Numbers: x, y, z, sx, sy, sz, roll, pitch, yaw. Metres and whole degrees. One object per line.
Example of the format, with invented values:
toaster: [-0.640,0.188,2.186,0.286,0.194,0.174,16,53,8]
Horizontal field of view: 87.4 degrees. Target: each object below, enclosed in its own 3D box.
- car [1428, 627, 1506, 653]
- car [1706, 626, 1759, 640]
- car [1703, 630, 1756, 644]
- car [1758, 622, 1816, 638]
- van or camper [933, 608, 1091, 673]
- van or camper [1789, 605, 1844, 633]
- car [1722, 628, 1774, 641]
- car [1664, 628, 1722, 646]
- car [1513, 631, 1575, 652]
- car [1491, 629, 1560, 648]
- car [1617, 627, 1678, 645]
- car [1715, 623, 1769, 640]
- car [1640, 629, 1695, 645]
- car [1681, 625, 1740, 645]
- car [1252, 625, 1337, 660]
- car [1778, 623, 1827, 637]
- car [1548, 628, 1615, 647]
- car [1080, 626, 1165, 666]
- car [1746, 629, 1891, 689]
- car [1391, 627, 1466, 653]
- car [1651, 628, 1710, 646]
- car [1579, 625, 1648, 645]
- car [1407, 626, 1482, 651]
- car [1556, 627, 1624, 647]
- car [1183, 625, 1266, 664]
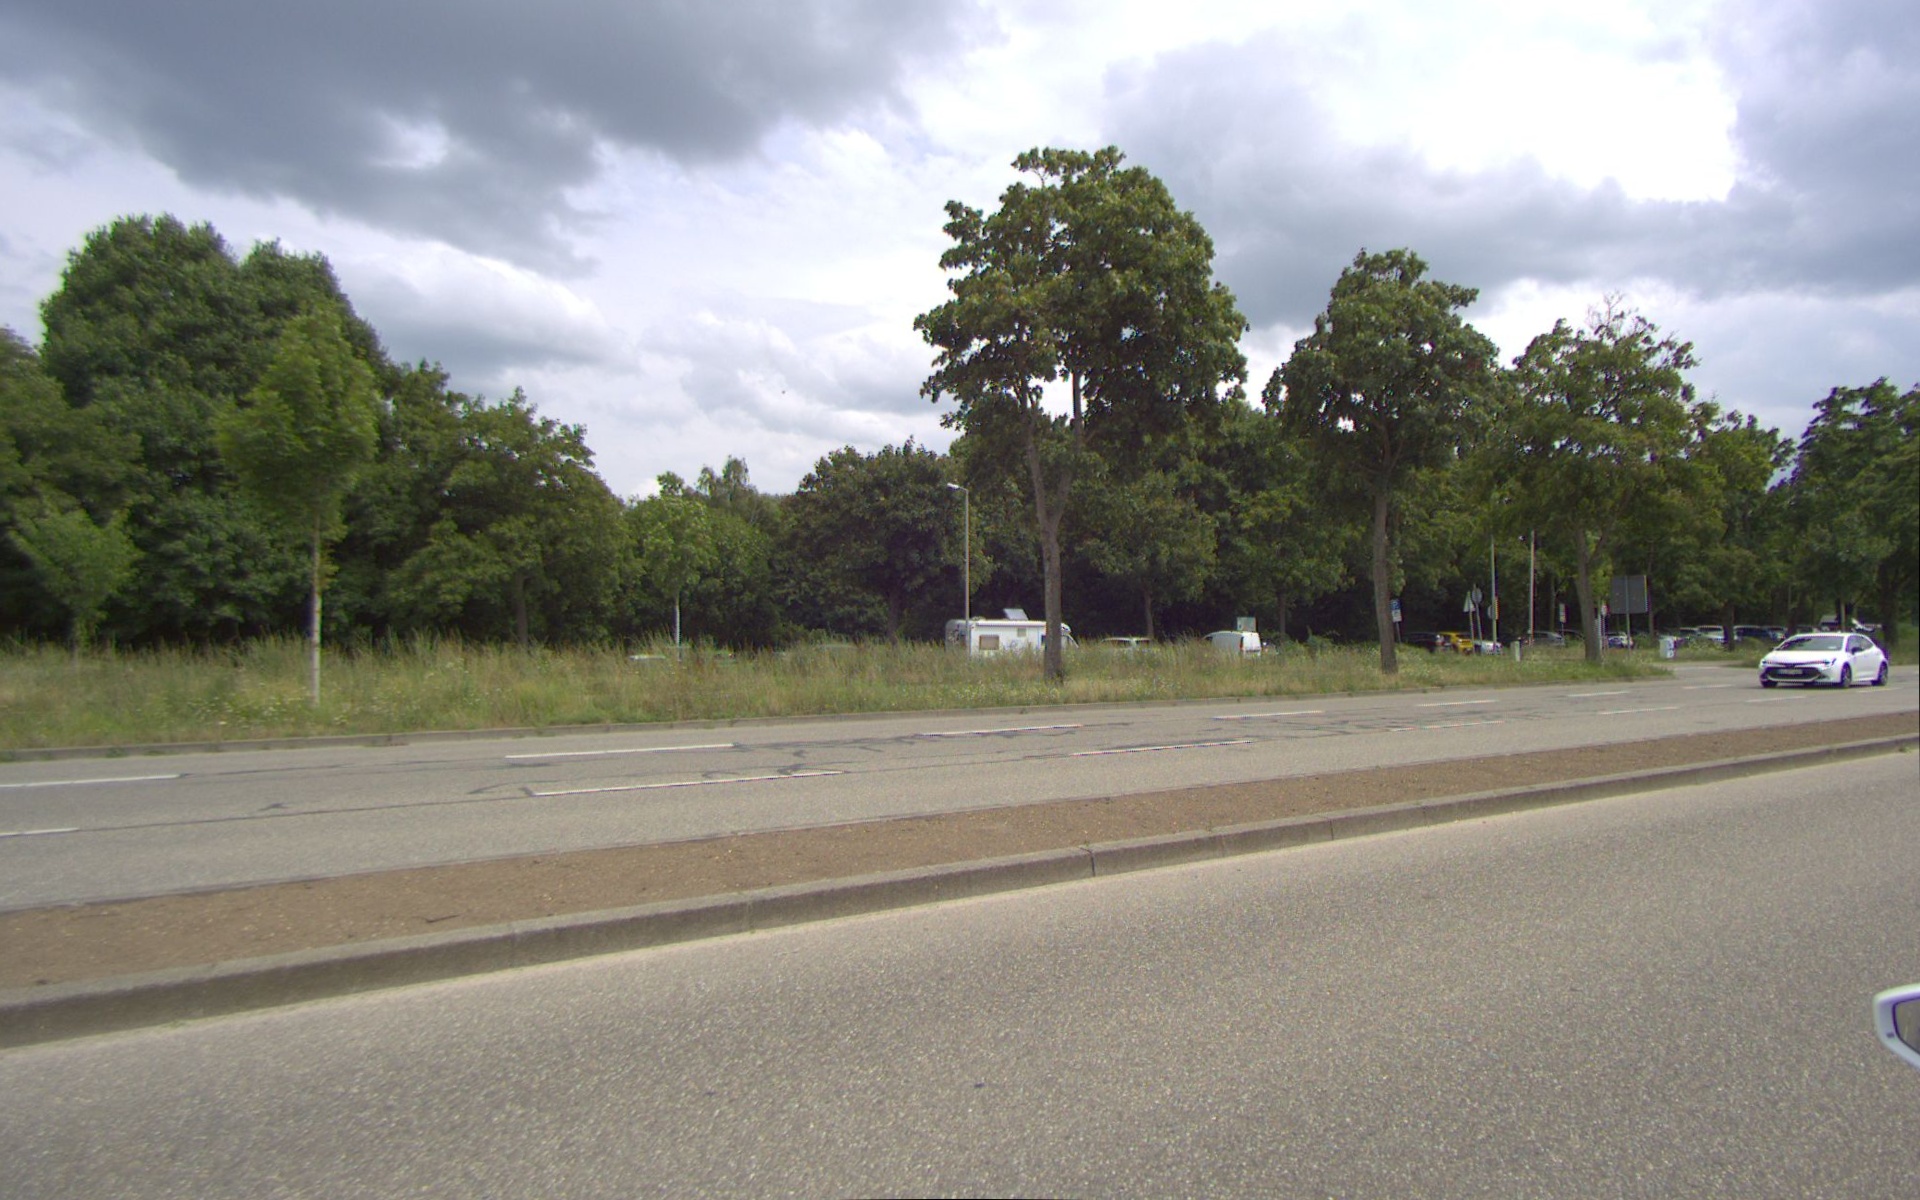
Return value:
car: [32.664,2.557,64.769,1.862,1.518,4.162,0,-1,-29]
car: [66.873,2.875,86.973,1.424,1.144,3.351,0,-1,-30]
car: [65.895,3.126,86.065,1.424,1.127,3.351,0,-1,-30]
car: [77.245,2.809,93.834,1.942,1.444,3.757,0,-1,-29]
van or camper: [2.304,1.678,43.489,6.643,2.574,2.459,0,-1,-31]
van or camper: [89.441,1.964,104.941,1.905,2.793,3.966,0,-1,-31]
car: [69.726,3.016,88.917,1.424,1.108,3.351,0,-1,-30]
car: [61.369,3.059,84.135,1.499,1.430,3.634,0,-1,-29]
car: [41.816,2.951,71.984,1.499,1.430,3.634,0,-1,-29]
car: [39.375,2.657,70.037,1.545,1.276,3.968,0,-1,-30]
car: [54.633,2.853,79.866,1.687,1.378,3.630,0,-1,-29]
car: [68.473,2.751,87.997,1.305,1.430,3.535,0,-1,-29]
car: [56.850,2.981,80.762,1.499,1.223,3.280,0,-1,-29]
car: [63.682,2.952,85.288,1.859,1.539,3.634,0,-1,-29]
car: [17.837,2.250,53.666,2.022,1.736,3.967,0,-1,-31]
car: [80.009,2.844,95.422,1.424,1.248,3.351,0,-1,-30]
car: [46.039,2.754,74.457,1.647,1.378,3.970,0,-1,-29]
car: [7.591,2.133,47.260,1.865,1.739,3.966,0,-1,-31]
car: [23.030,1.556,26.924,4.111,1.438,1.709,0,-3,-31]
car: [29.122,2.440,62.600,1.763,1.518,3.969,0,-1,-29]
car: [59.375,3.018,82.819,1.499,1.430,3.634,0,-1,-29]
car: [49.879,2.642,76.772,1.974,1.429,3.974,0,-1,-26]
car: [30.646,2.406,63.633,1.763,1.518,3.969,0,-1,-29]
car: [47.532,2.758,75.841,1.800,1.378,3.970,0,-1,-29]
car: [13.556,2.236,51.675,1.917,1.912,3.967,0,-1,-31]
